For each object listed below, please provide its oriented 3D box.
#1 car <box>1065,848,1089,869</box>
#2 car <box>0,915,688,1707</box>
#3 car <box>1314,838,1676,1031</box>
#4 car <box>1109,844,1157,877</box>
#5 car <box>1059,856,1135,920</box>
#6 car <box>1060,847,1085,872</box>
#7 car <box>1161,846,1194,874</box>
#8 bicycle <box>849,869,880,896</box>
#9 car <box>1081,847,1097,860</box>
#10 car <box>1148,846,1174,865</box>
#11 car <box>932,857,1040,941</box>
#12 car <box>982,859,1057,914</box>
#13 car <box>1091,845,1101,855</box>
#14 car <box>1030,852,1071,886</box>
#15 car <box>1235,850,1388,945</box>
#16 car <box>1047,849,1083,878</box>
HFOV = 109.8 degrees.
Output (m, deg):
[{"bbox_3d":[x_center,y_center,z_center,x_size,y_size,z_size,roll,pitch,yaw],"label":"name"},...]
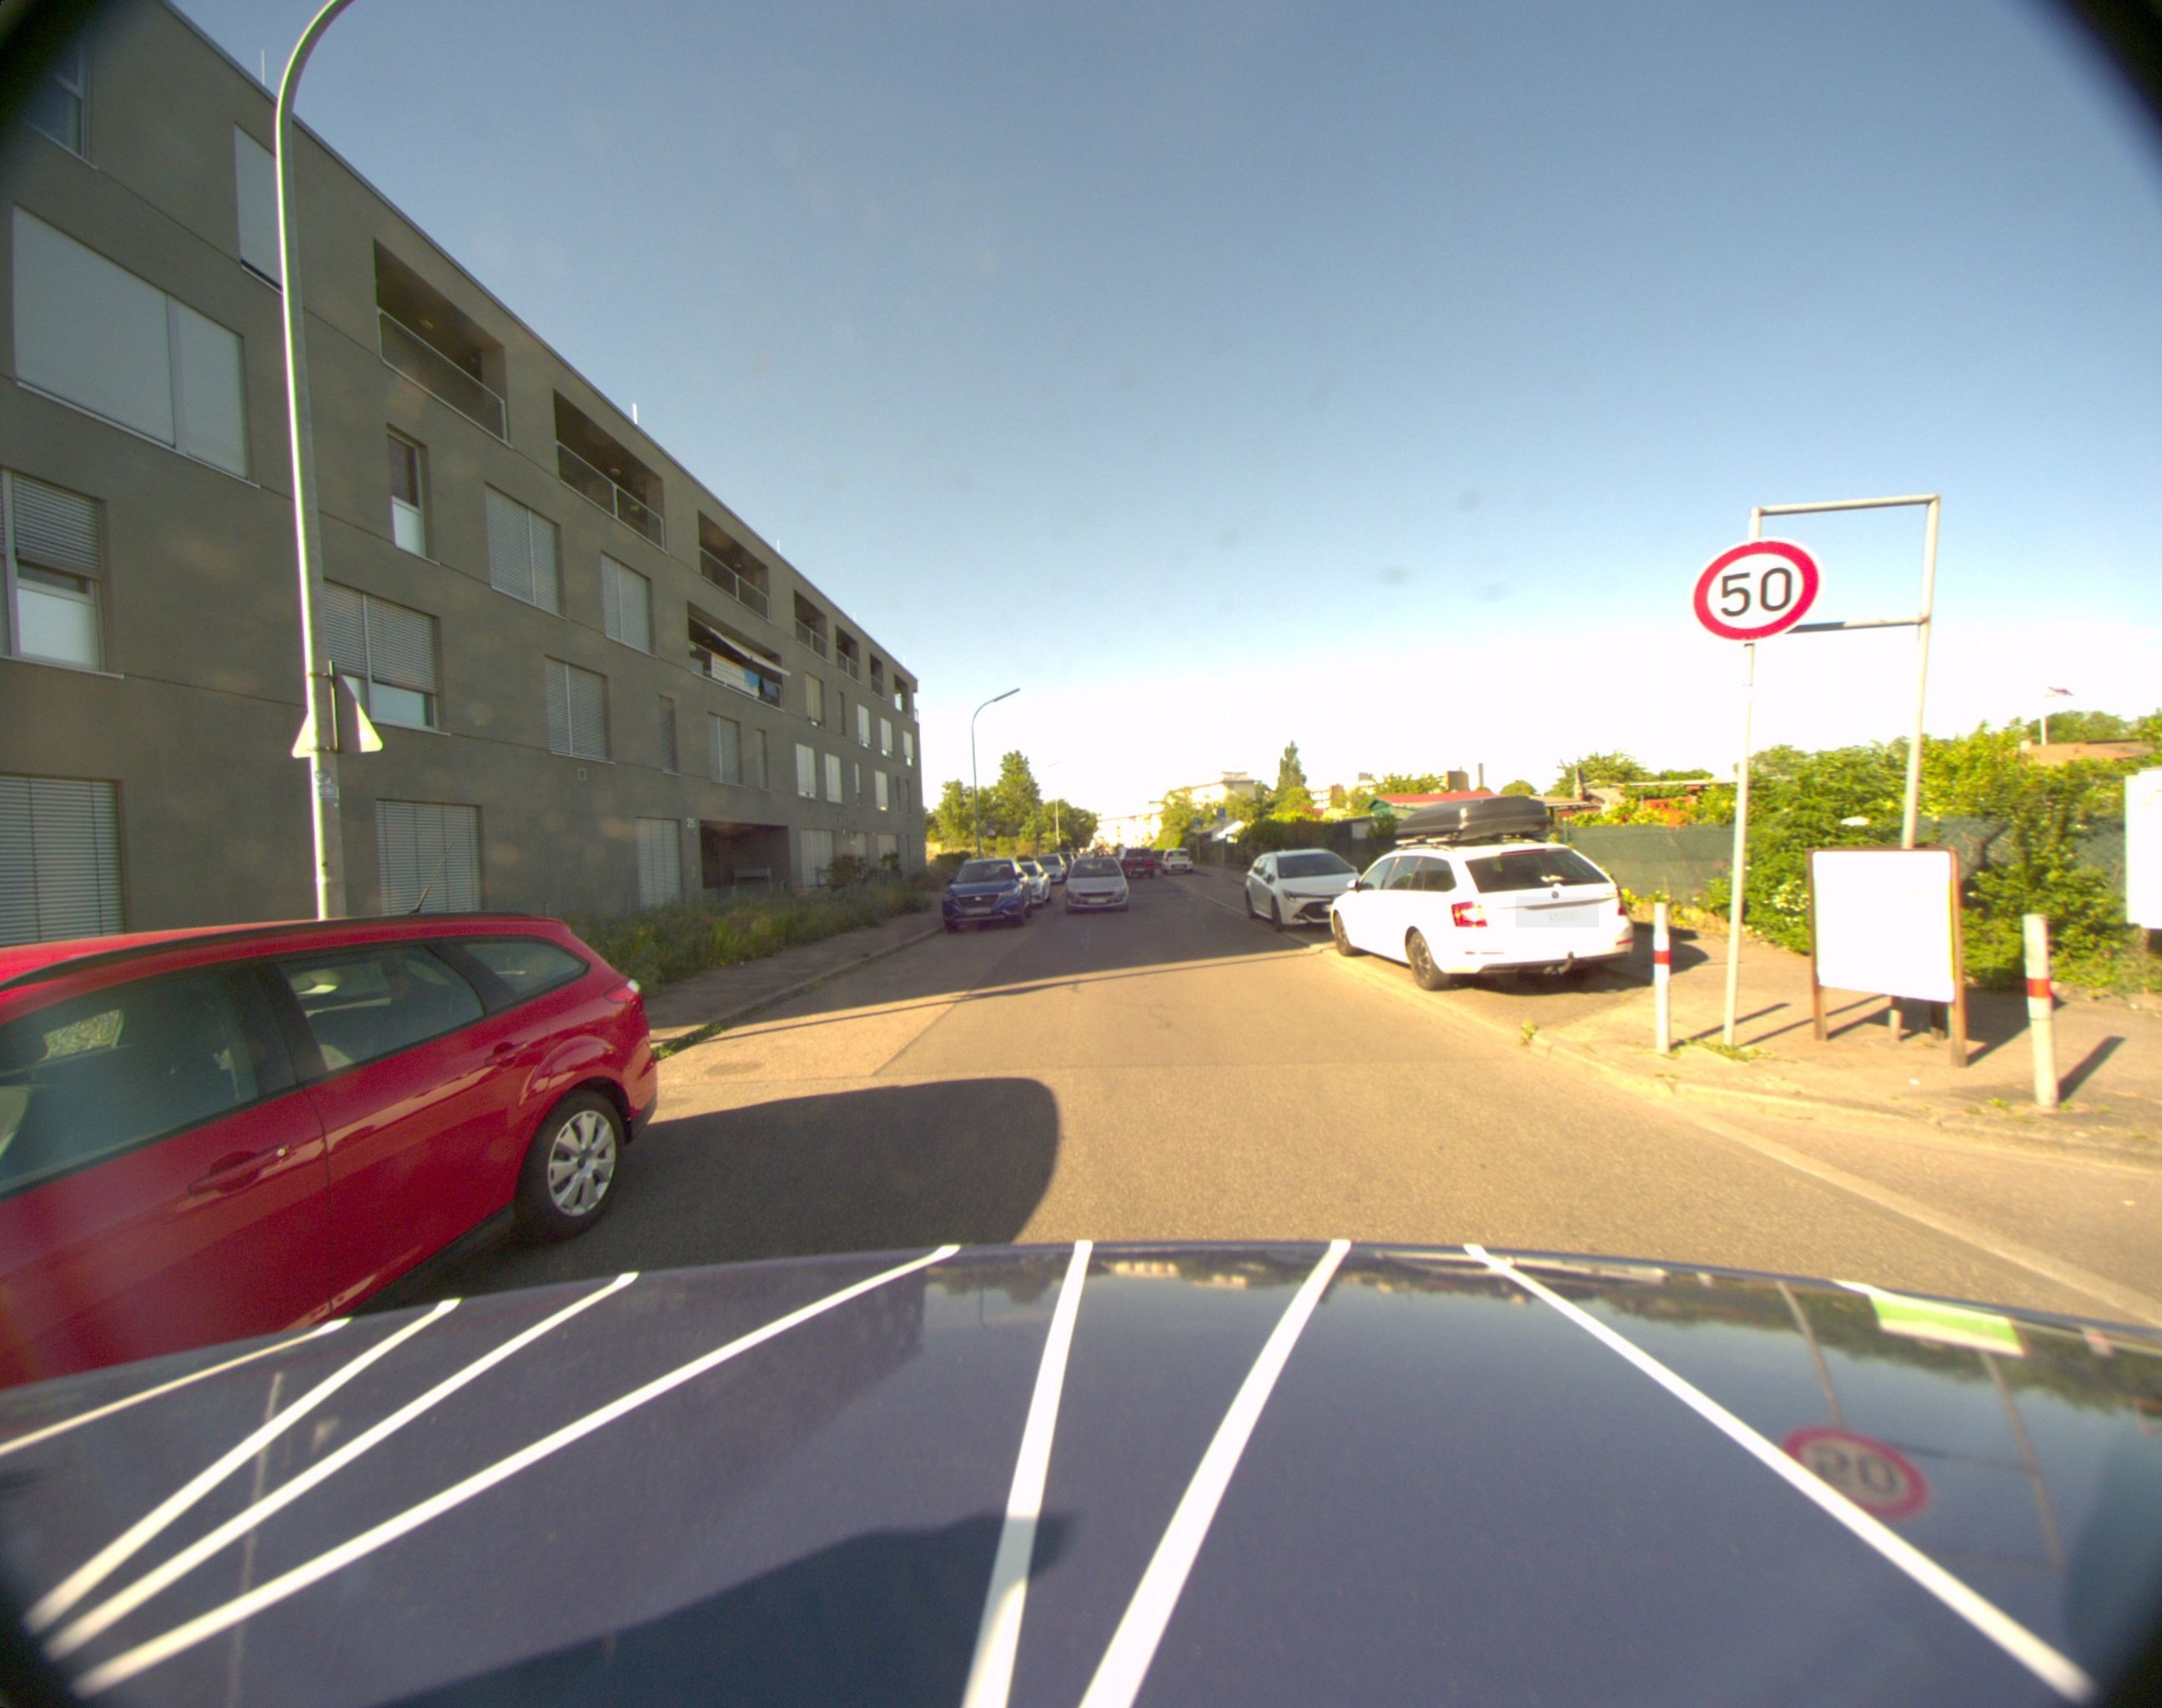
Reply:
[{"bbox_3d":[-0.347,0.370,63.810,1.711,1.517,3.093,-5,1,3],"label":"car"},{"bbox_3d":[-3.160,1.151,1.927,1.823,1.491,4.452,-3,0,2],"label":"car"},{"bbox_3d":[4.225,0.687,8.742,1.700,1.504,4.517,-5,0,2],"label":"car"},{"bbox_3d":[2.853,0.338,42.735,1.948,1.717,4.836,-2,0,-5],"label":"car"},{"bbox_3d":[0.526,0.832,20.417,1.678,1.440,4.001,-3,1,5],"label":"car"},{"bbox_3d":[-0.623,0.417,58.978,1.711,1.695,4.349,-5,1,1],"label":"car"},{"bbox_3d":[5.641,0.317,44.612,1.531,1.479,3.402,-3,1,2],"label":"car"},{"bbox_3d":[-9.290,1.205,32.671,0.553,1.055,1.842,-3,1,6],"label":"bicycle"},{"bbox_3d":[1.101,-0.119,99.319,1.873,1.517,4.155,-3,1,3],"label":"car"},{"bbox_3d":[6.464,0.095,62.043,1.700,1.415,4.517,-5,1,2],"label":"car"},{"bbox_3d":[-2.159,0.969,18.582,1.821,1.590,4.627,-5,0,1],"label":"car"},{"bbox_3d":[-1.891,0.980,24.674,1.749,1.421,4.586,-4,0,3],"label":"car"},{"bbox_3d":[3.095,-0.924,159.316,1.998,2.002,4.000,-3,1,2],"label":"car"},{"bbox_3d":[-1.533,0.732,39.588,1.711,1.517,4.155,-4,1,3],"label":"car"},{"bbox_3d":[4.403,0.734,15.254,1.751,1.437,4.541,-6,0,3],"label":"car"},{"bbox_3d":[-0.957,0.576,48.608,1.749,1.558,4.804,-4,1,4],"label":"car"}]
